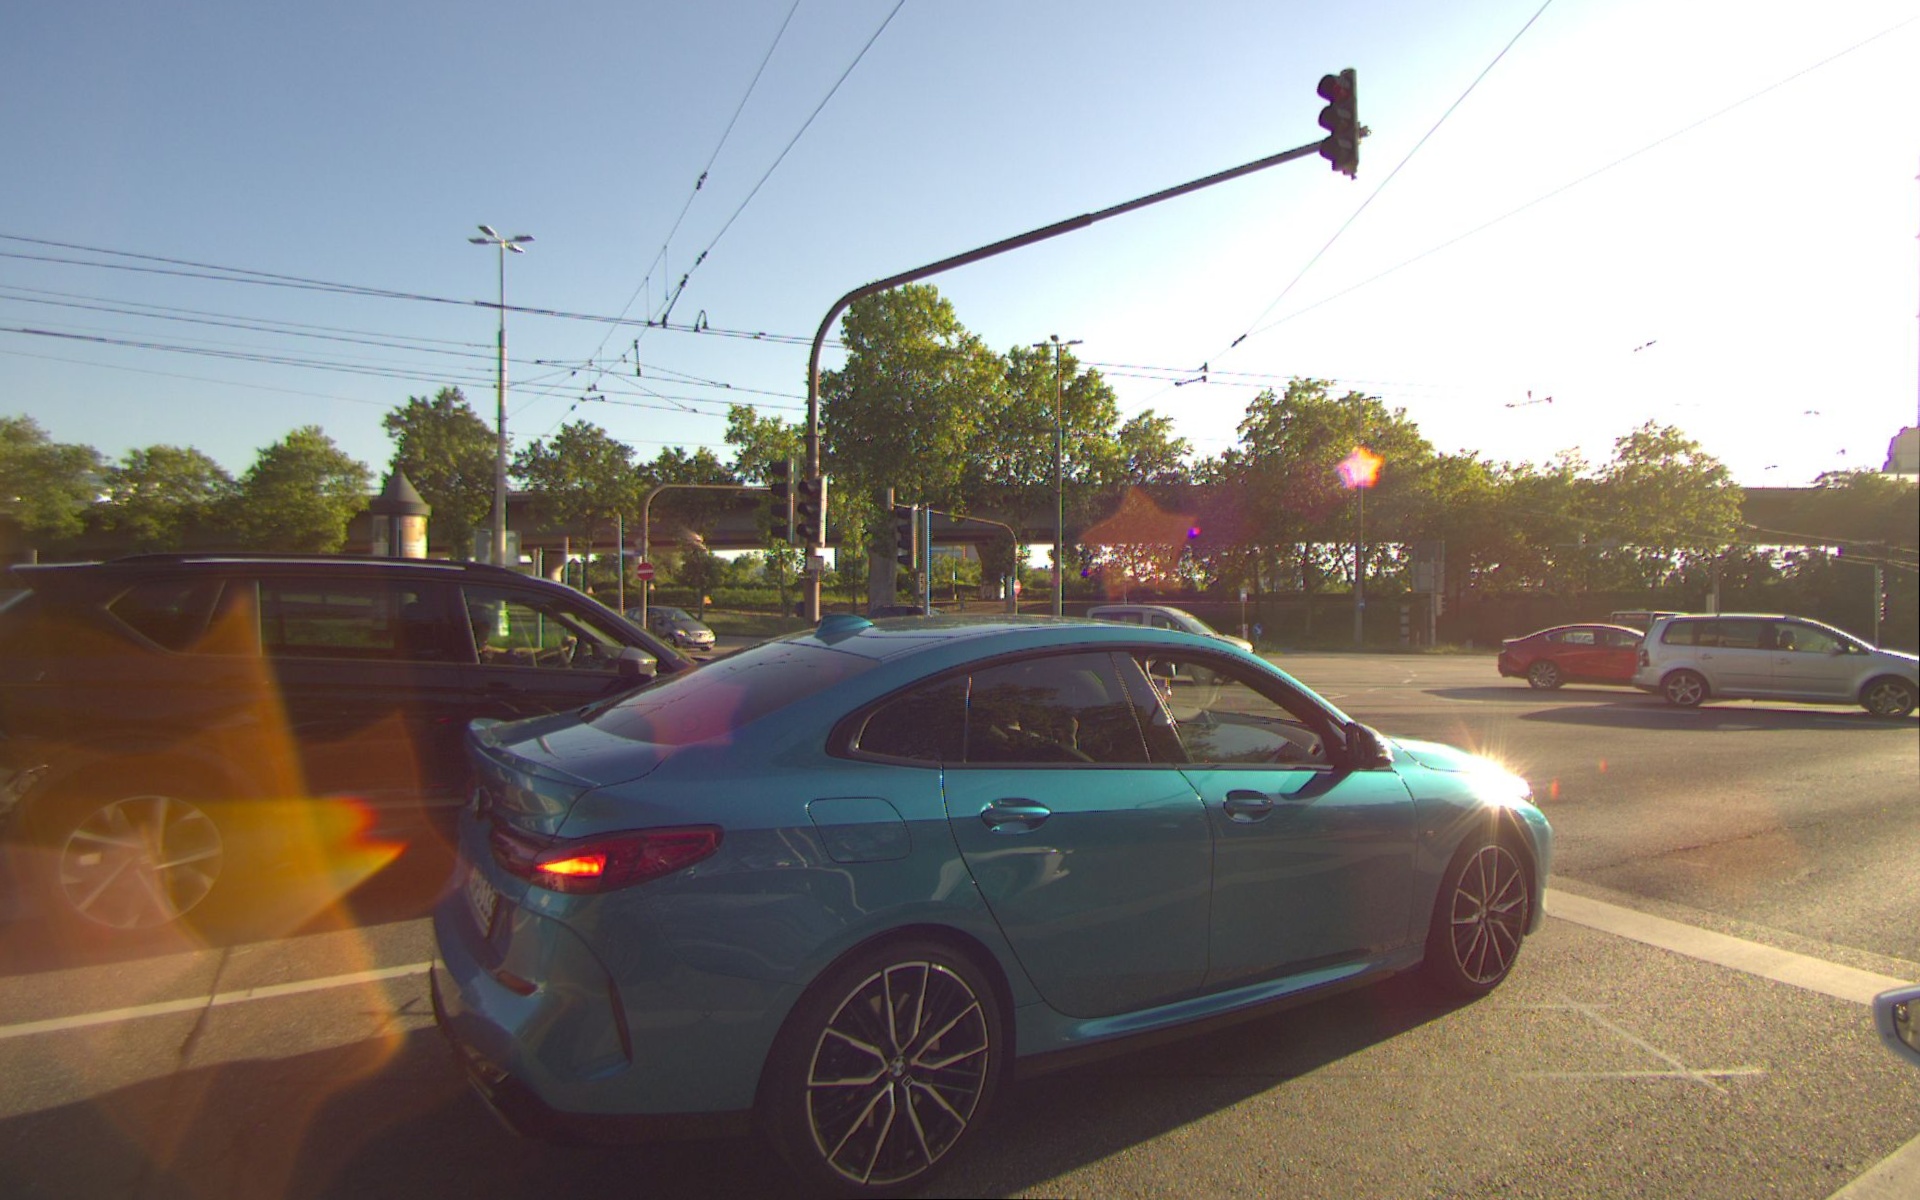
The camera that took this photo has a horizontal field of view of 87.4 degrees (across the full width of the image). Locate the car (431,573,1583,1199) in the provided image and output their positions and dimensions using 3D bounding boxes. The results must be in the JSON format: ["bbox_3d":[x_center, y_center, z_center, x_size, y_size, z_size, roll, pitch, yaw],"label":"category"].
[{"bbox_3d":[0.432,0.743,3.793,4.162,1.485,1.704,1,-1,-33],"label":"car"}]

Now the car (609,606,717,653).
[{"bbox_3d":[-10.776,1.047,36.395,3.869,1.546,1.718,1,0,35],"label":"car"}]

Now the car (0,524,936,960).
[{"bbox_3d":[-2.570,0.599,5.600,4.566,1.702,1.806,1,-1,-29],"label":"car"}]

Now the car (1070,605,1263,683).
[{"bbox_3d":[5.034,1.031,24.792,4.344,1.701,1.687,1,0,37],"label":"car"}]

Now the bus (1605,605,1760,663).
[{"bbox_3d":[45.578,2.225,63.186,12.756,3.171,2.534,3,-2,-28],"label":"bus"}]

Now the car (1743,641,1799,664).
[{"bbox_3d":[55.039,3.542,68.157,3.959,1.438,1.600,1,0,-29],"label":"car"}]

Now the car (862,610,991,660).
[{"bbox_3d":[-1.194,1.180,34.588,4.341,1.546,1.618,1,0,36],"label":"car"}]

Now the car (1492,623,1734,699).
[{"bbox_3d":[14.046,1.252,21.744,4.222,1.382,1.616,1,0,40],"label":"car"}]

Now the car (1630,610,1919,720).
[{"bbox_3d":[14.226,1.044,17.380,4.222,1.653,1.686,1,0,40],"label":"car"}]
